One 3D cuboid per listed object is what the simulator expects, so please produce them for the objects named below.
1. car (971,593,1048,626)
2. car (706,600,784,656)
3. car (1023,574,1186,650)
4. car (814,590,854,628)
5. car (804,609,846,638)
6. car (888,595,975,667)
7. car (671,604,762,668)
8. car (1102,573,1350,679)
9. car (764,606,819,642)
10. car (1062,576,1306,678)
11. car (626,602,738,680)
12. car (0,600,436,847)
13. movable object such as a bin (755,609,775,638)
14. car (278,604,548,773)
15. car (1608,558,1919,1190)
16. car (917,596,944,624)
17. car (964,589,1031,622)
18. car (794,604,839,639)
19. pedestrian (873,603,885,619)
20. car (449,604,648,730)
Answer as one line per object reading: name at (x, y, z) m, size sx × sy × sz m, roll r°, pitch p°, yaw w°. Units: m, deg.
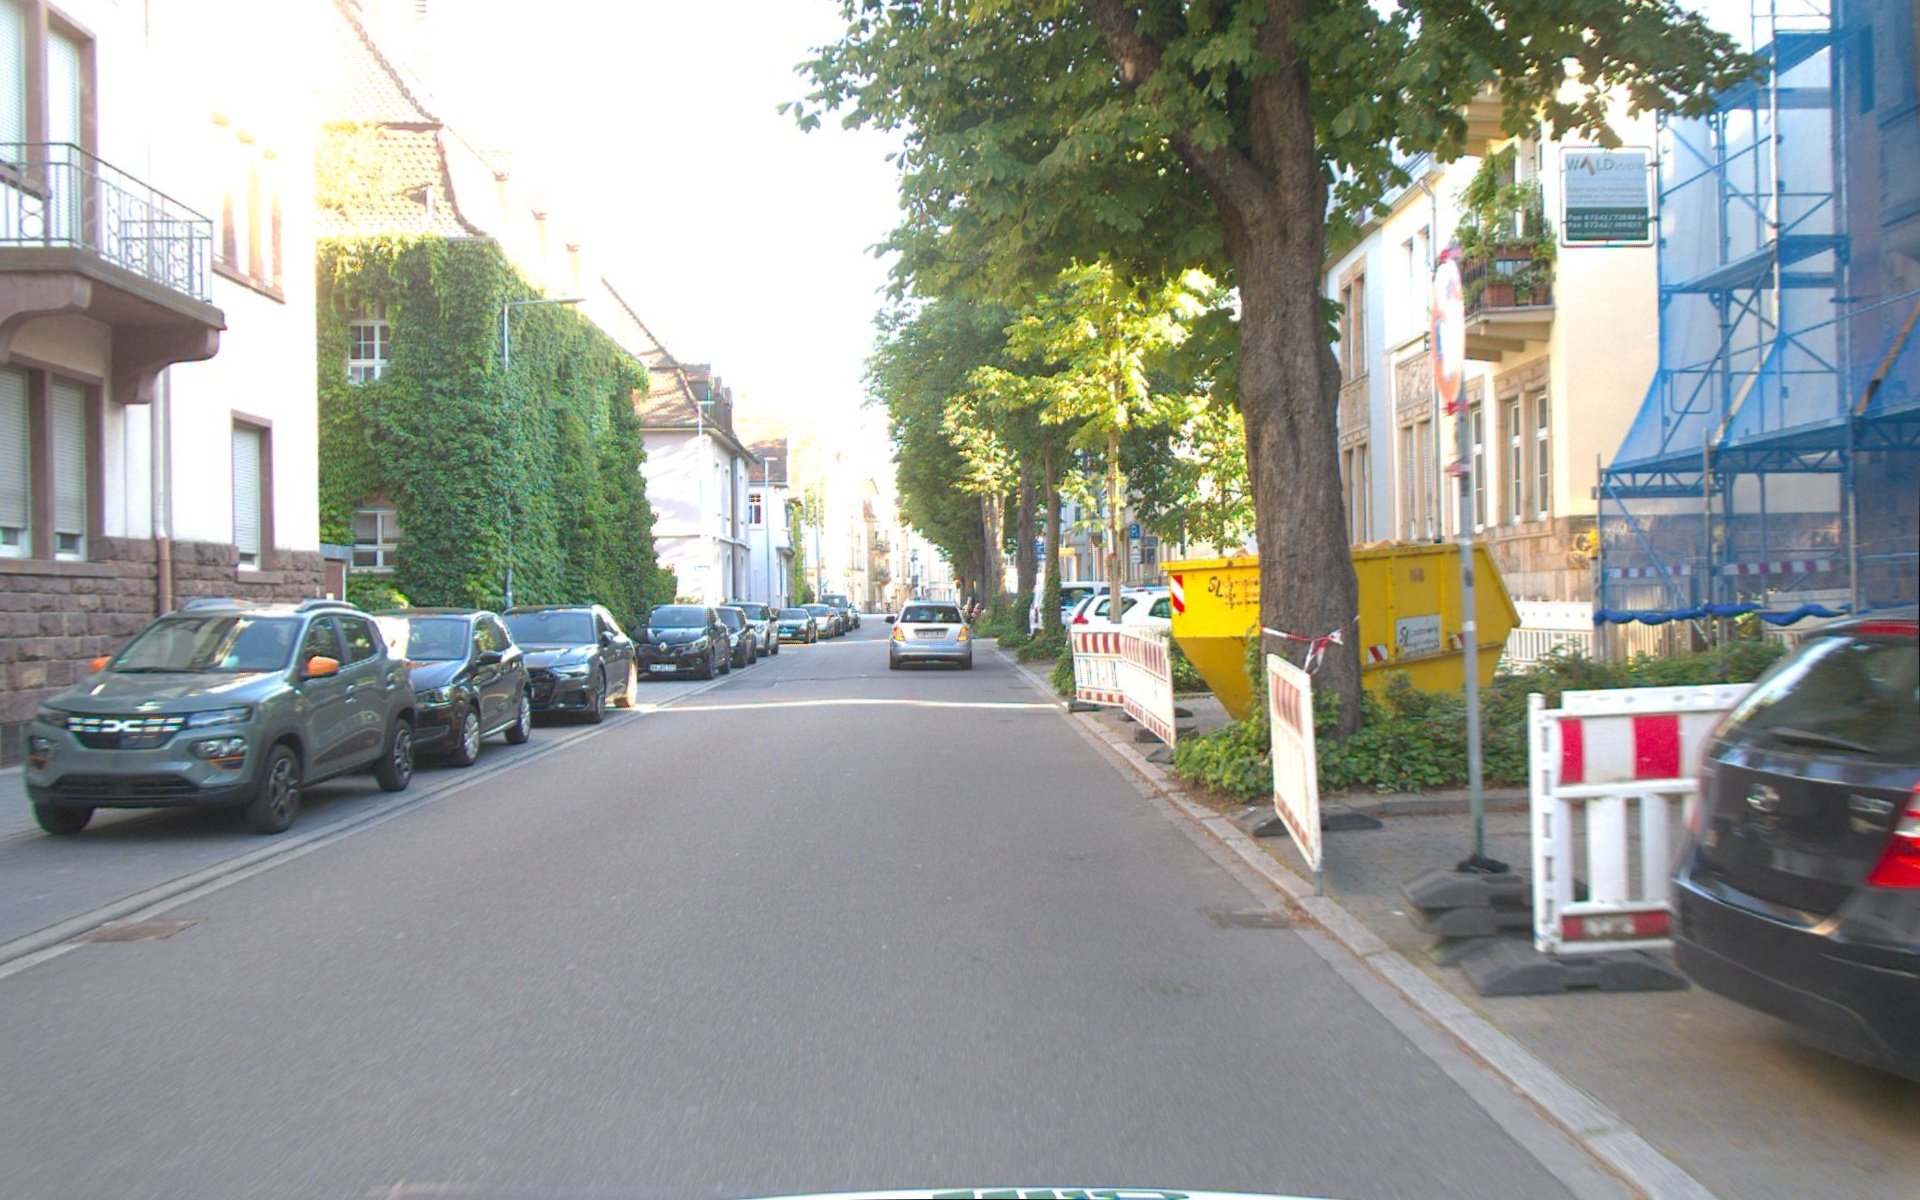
car at (2.695, 0.519, 90.128) m, size 4.104 × 1.501 × 1.852 m, roll -3°, pitch 0°, yaw 1°
car at (-5.926, 0.745, 45.945) m, size 1.669 × 1.486 × 3.917 m, roll 0°, pitch 0°, yaw 0°
car at (3.940, 0.329, 45.587) m, size 4.227 × 1.838 × 1.999 m, roll -3°, pitch 0°, yaw -2°
car at (-6.742, 0.453, 88.733) m, size 1.942 × 1.982 × 4.849 m, roll 0°, pitch 0°, yaw -2°
car at (-6.276, 1.081, 77.257) m, size 1.499 × 1.342 × 4.227 m, roll 0°, pitch -1°, yaw 1°
car at (-0.598, 0.646, 35.511) m, size 1.747 × 1.462 × 3.850 m, roll 0°, pitch -1°, yaw -1°
car at (-5.704, 0.816, 39.126) m, size 1.652 × 1.404 × 3.720 m, roll 0°, pitch 0°, yaw -1°
car at (4.259, 0.402, 26.934) m, size 3.771 × 1.487 × 1.687 m, roll -3°, pitch 0°, yaw 3°
car at (-6.422, 0.908, 63.317) m, size 1.619 × 1.347 × 4.045 m, roll 0°, pitch 0°, yaw 1°
car at (3.924, 0.460, 29.430) m, size 4.059 × 1.561 × 1.687 m, roll -3°, pitch 0°, yaw 1°
car at (-5.527, 0.775, 33.292) m, size 1.616 × 1.445 × 4.098 m, roll 0°, pitch 0°, yaw -1°
car at (-5.211, 0.758, 12.077) m, size 1.620 × 1.512 × 3.763 m, roll 0°, pitch 0°, yaw -1°
movable object such as a bin at (-9.124, 1.078, 77.347) m, size 0.707 × 1.306 × 2.096 m, roll -1°, pitch 0°, yaw -1°
car at (-5.303, 0.780, 16.515) m, size 1.621 × 1.472 × 3.841 m, roll 0°, pitch 0°, yaw -3°
car at (4.249, 0.567, 4.866) m, size 3.905 × 1.518 × 1.851 m, roll -3°, pitch 0°, yaw 0°
car at (-1.746, 0.598, 98.600) m, size 1.590 × 1.597 × 3.680 m, roll -1°, pitch 0°, yaw 0°
car at (2.419, 0.332, 106.719) m, size 4.136 × 1.929 × 1.904 m, roll -3°, pitch 0°, yaw -3°
car at (-6.247, 0.911, 72.283) m, size 1.620 × 1.471 × 3.959 m, roll 0°, pitch 0°, yaw -1°
pedestrian at (-9.305, 1.265, 189.718) m, size 1.195 × 1.752 × 1.503 m, roll 0°, pitch 0°, yaw 2°
car at (-5.382, 0.808, 22.215) m, size 1.757 × 1.487 × 4.774 m, roll 0°, pitch 0°, yaw -4°
